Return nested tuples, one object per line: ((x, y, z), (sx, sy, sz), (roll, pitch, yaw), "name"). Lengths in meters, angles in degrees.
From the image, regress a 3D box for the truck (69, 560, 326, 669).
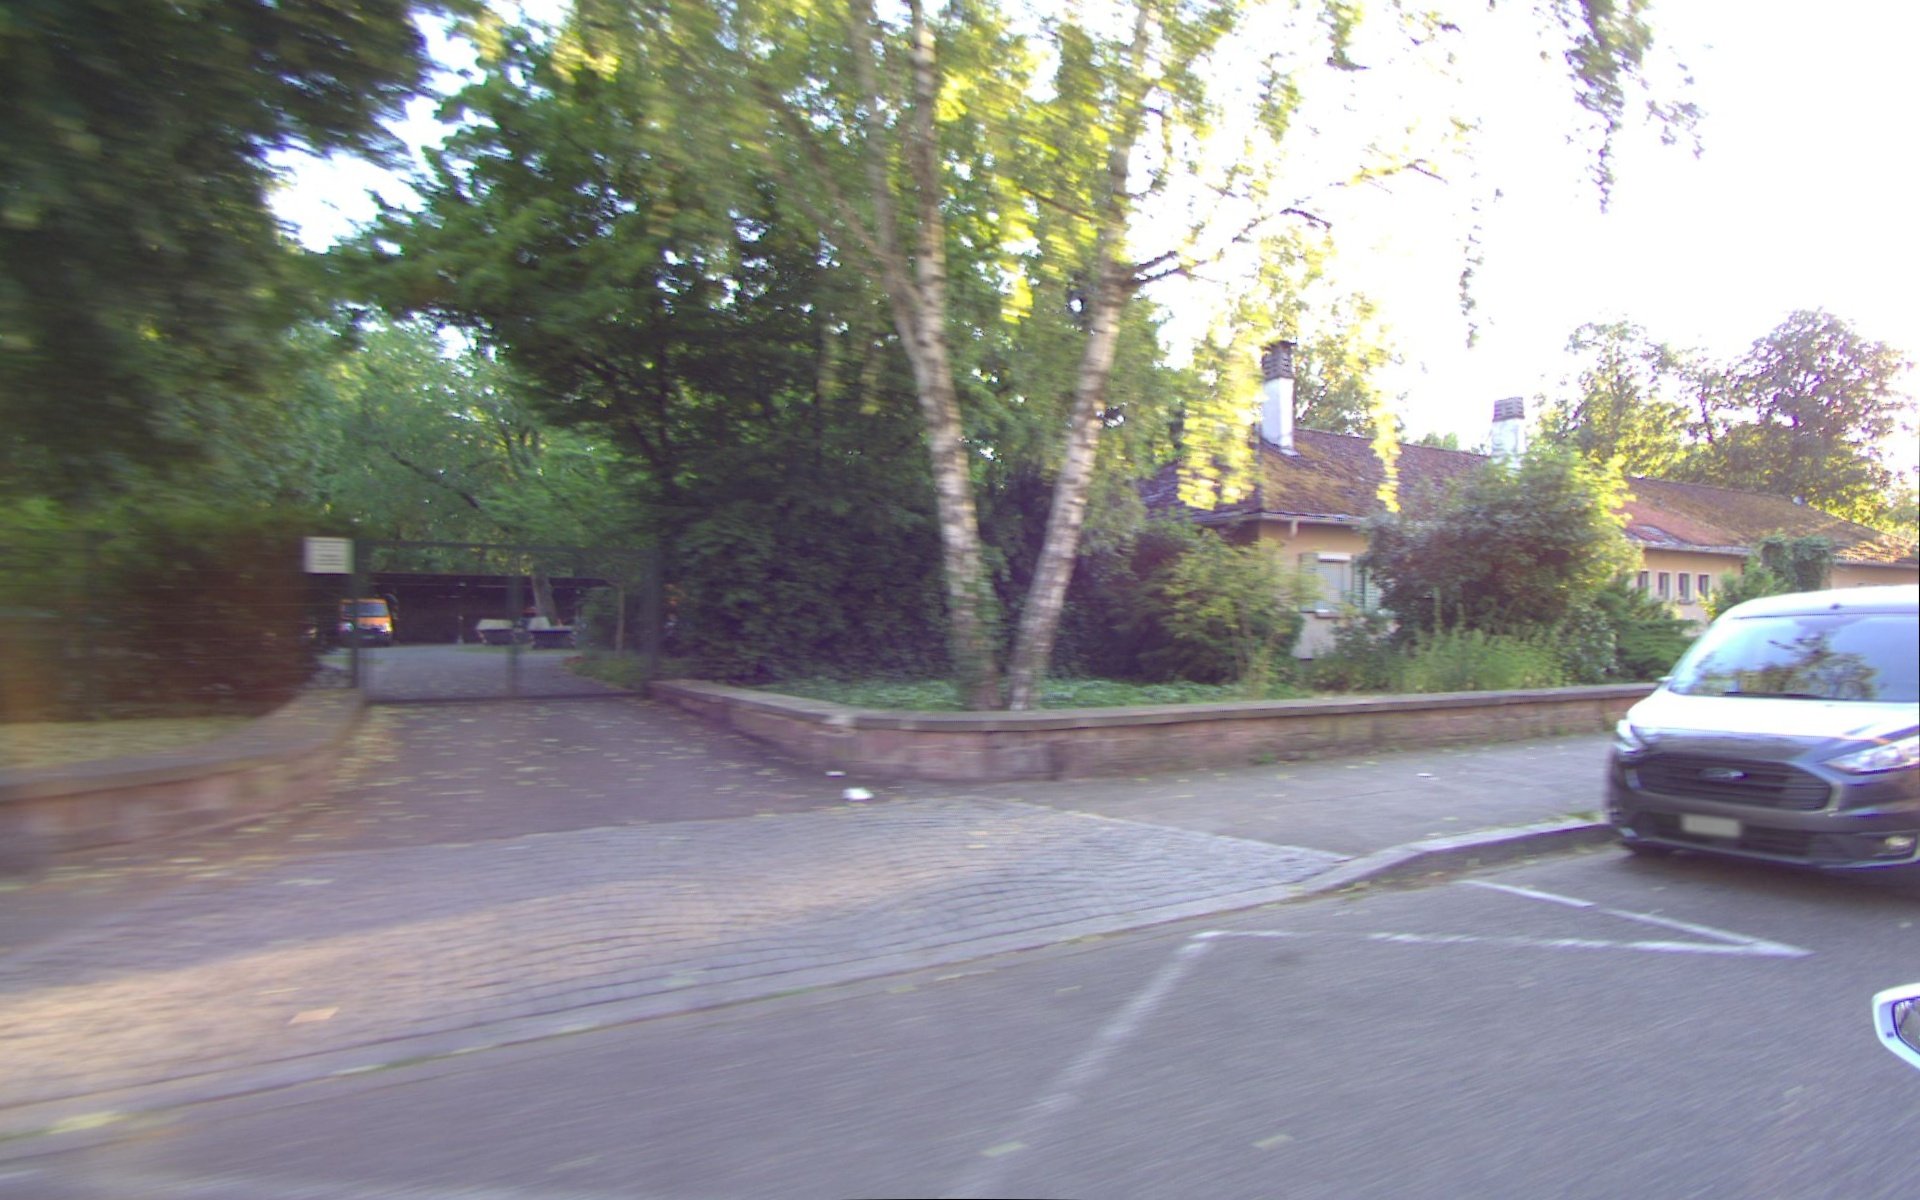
((-20.848, 0.371, 27.793), (5.457, 2.741, 2.225), (1, 1, -36), "truck")

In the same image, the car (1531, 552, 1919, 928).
((6.266, 0.734, 6.890), (4.892, 1.811, 1.901), (1, -2, -31), "car")

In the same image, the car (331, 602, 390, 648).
((-28.276, 1.159, 47.324), (1.982, 2.040, 3.957), (1, -1, -37), "car")

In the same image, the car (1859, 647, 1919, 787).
((10.464, 1.080, 9.556), (3.995, 1.205, 1.981), (1, -1, -34), "car")
